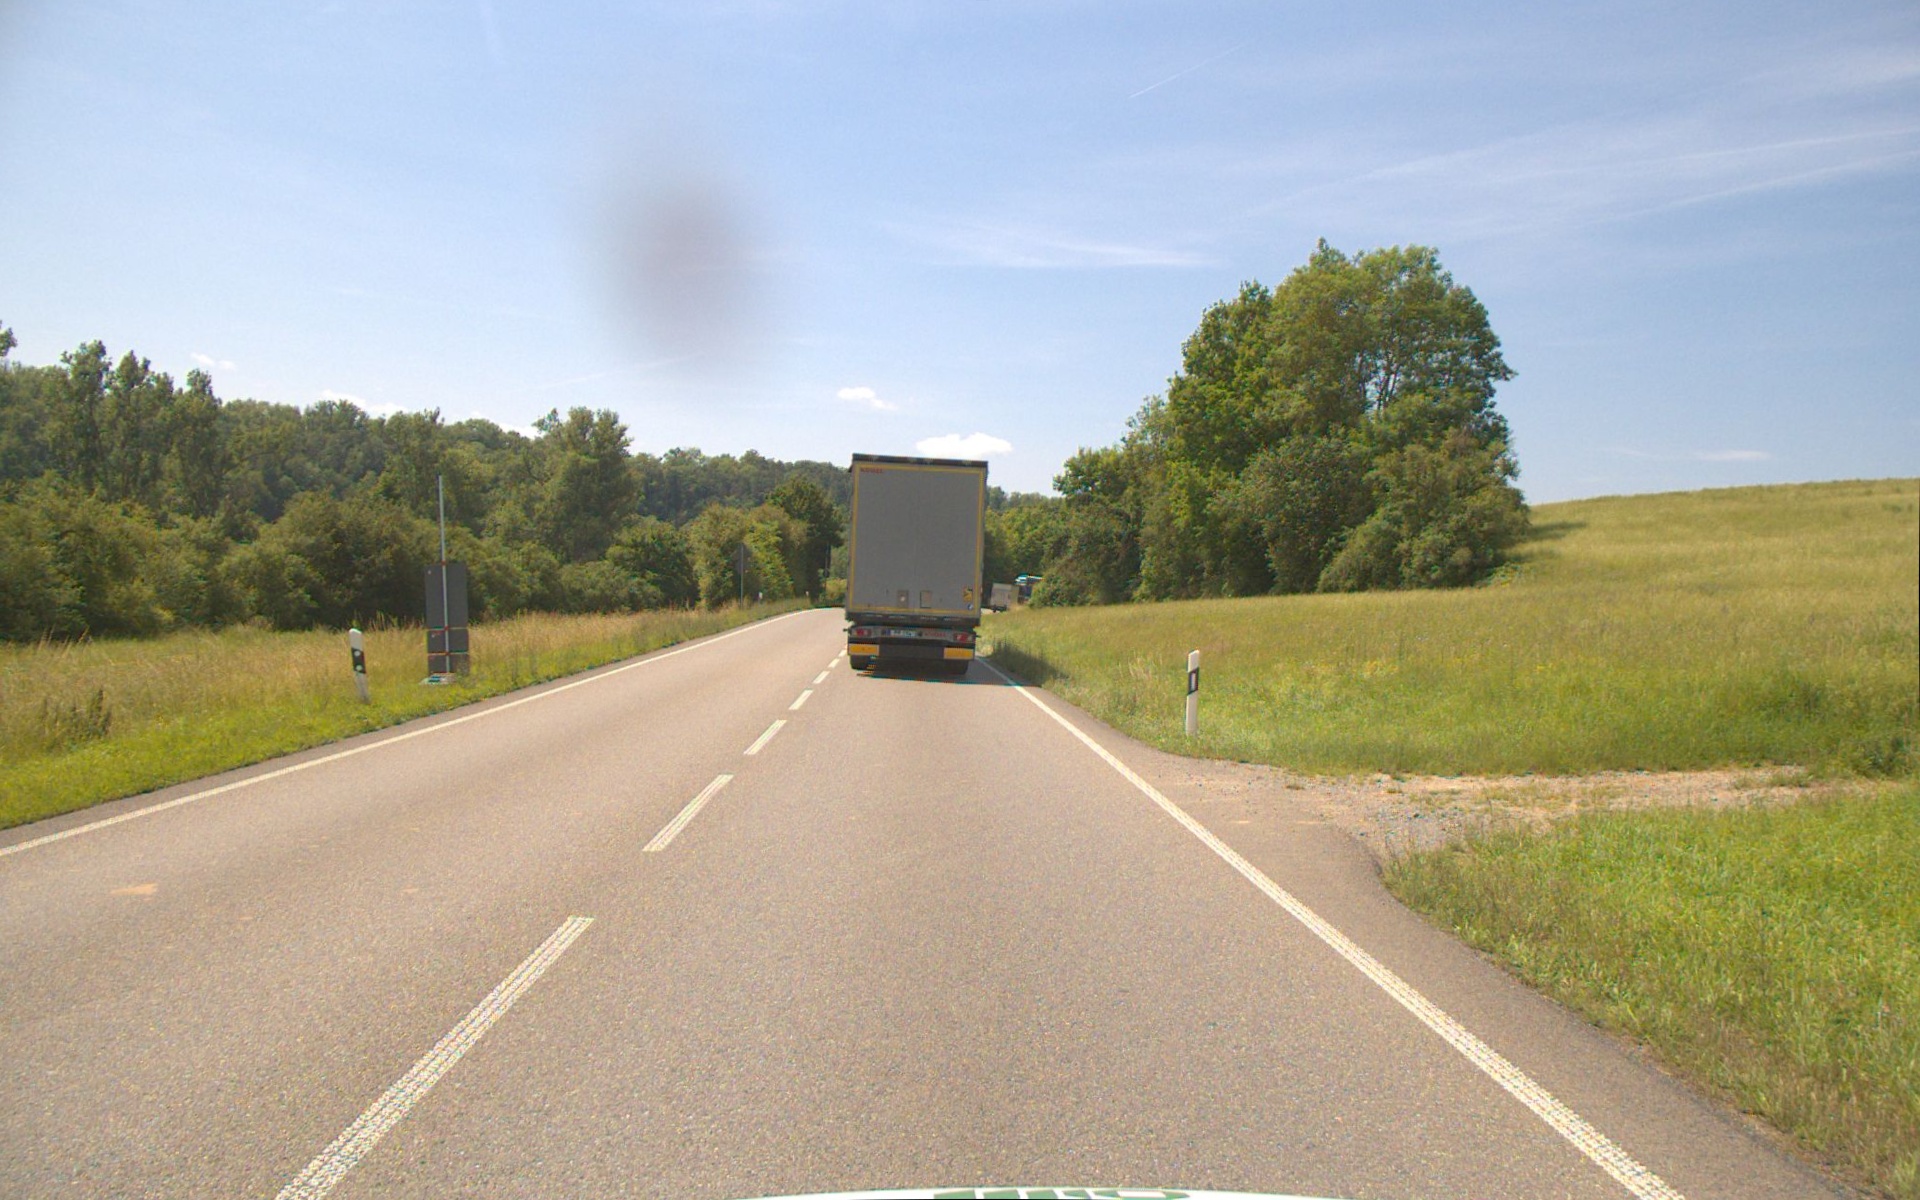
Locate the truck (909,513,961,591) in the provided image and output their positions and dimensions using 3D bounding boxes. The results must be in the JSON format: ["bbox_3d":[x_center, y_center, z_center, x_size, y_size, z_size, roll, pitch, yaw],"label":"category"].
[{"bbox_3d":[-1.737,-3.289,112.015,3.042,4.786,16.588,2,2,-1],"label":"truck"}]

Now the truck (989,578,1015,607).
[{"bbox_3d":[4.443,-0.803,173.053,2.304,2.875,5.062,-1,0,6],"label":"truck"}]

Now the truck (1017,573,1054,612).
[{"bbox_3d":[9.027,-0.812,196.334,3.233,4.463,13.421,0,-1,7],"label":"truck"}]

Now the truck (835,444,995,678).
[{"bbox_3d":[-1.224,-0.703,37.726,2.746,4.139,15.315,2,0,-3],"label":"truck"}]
